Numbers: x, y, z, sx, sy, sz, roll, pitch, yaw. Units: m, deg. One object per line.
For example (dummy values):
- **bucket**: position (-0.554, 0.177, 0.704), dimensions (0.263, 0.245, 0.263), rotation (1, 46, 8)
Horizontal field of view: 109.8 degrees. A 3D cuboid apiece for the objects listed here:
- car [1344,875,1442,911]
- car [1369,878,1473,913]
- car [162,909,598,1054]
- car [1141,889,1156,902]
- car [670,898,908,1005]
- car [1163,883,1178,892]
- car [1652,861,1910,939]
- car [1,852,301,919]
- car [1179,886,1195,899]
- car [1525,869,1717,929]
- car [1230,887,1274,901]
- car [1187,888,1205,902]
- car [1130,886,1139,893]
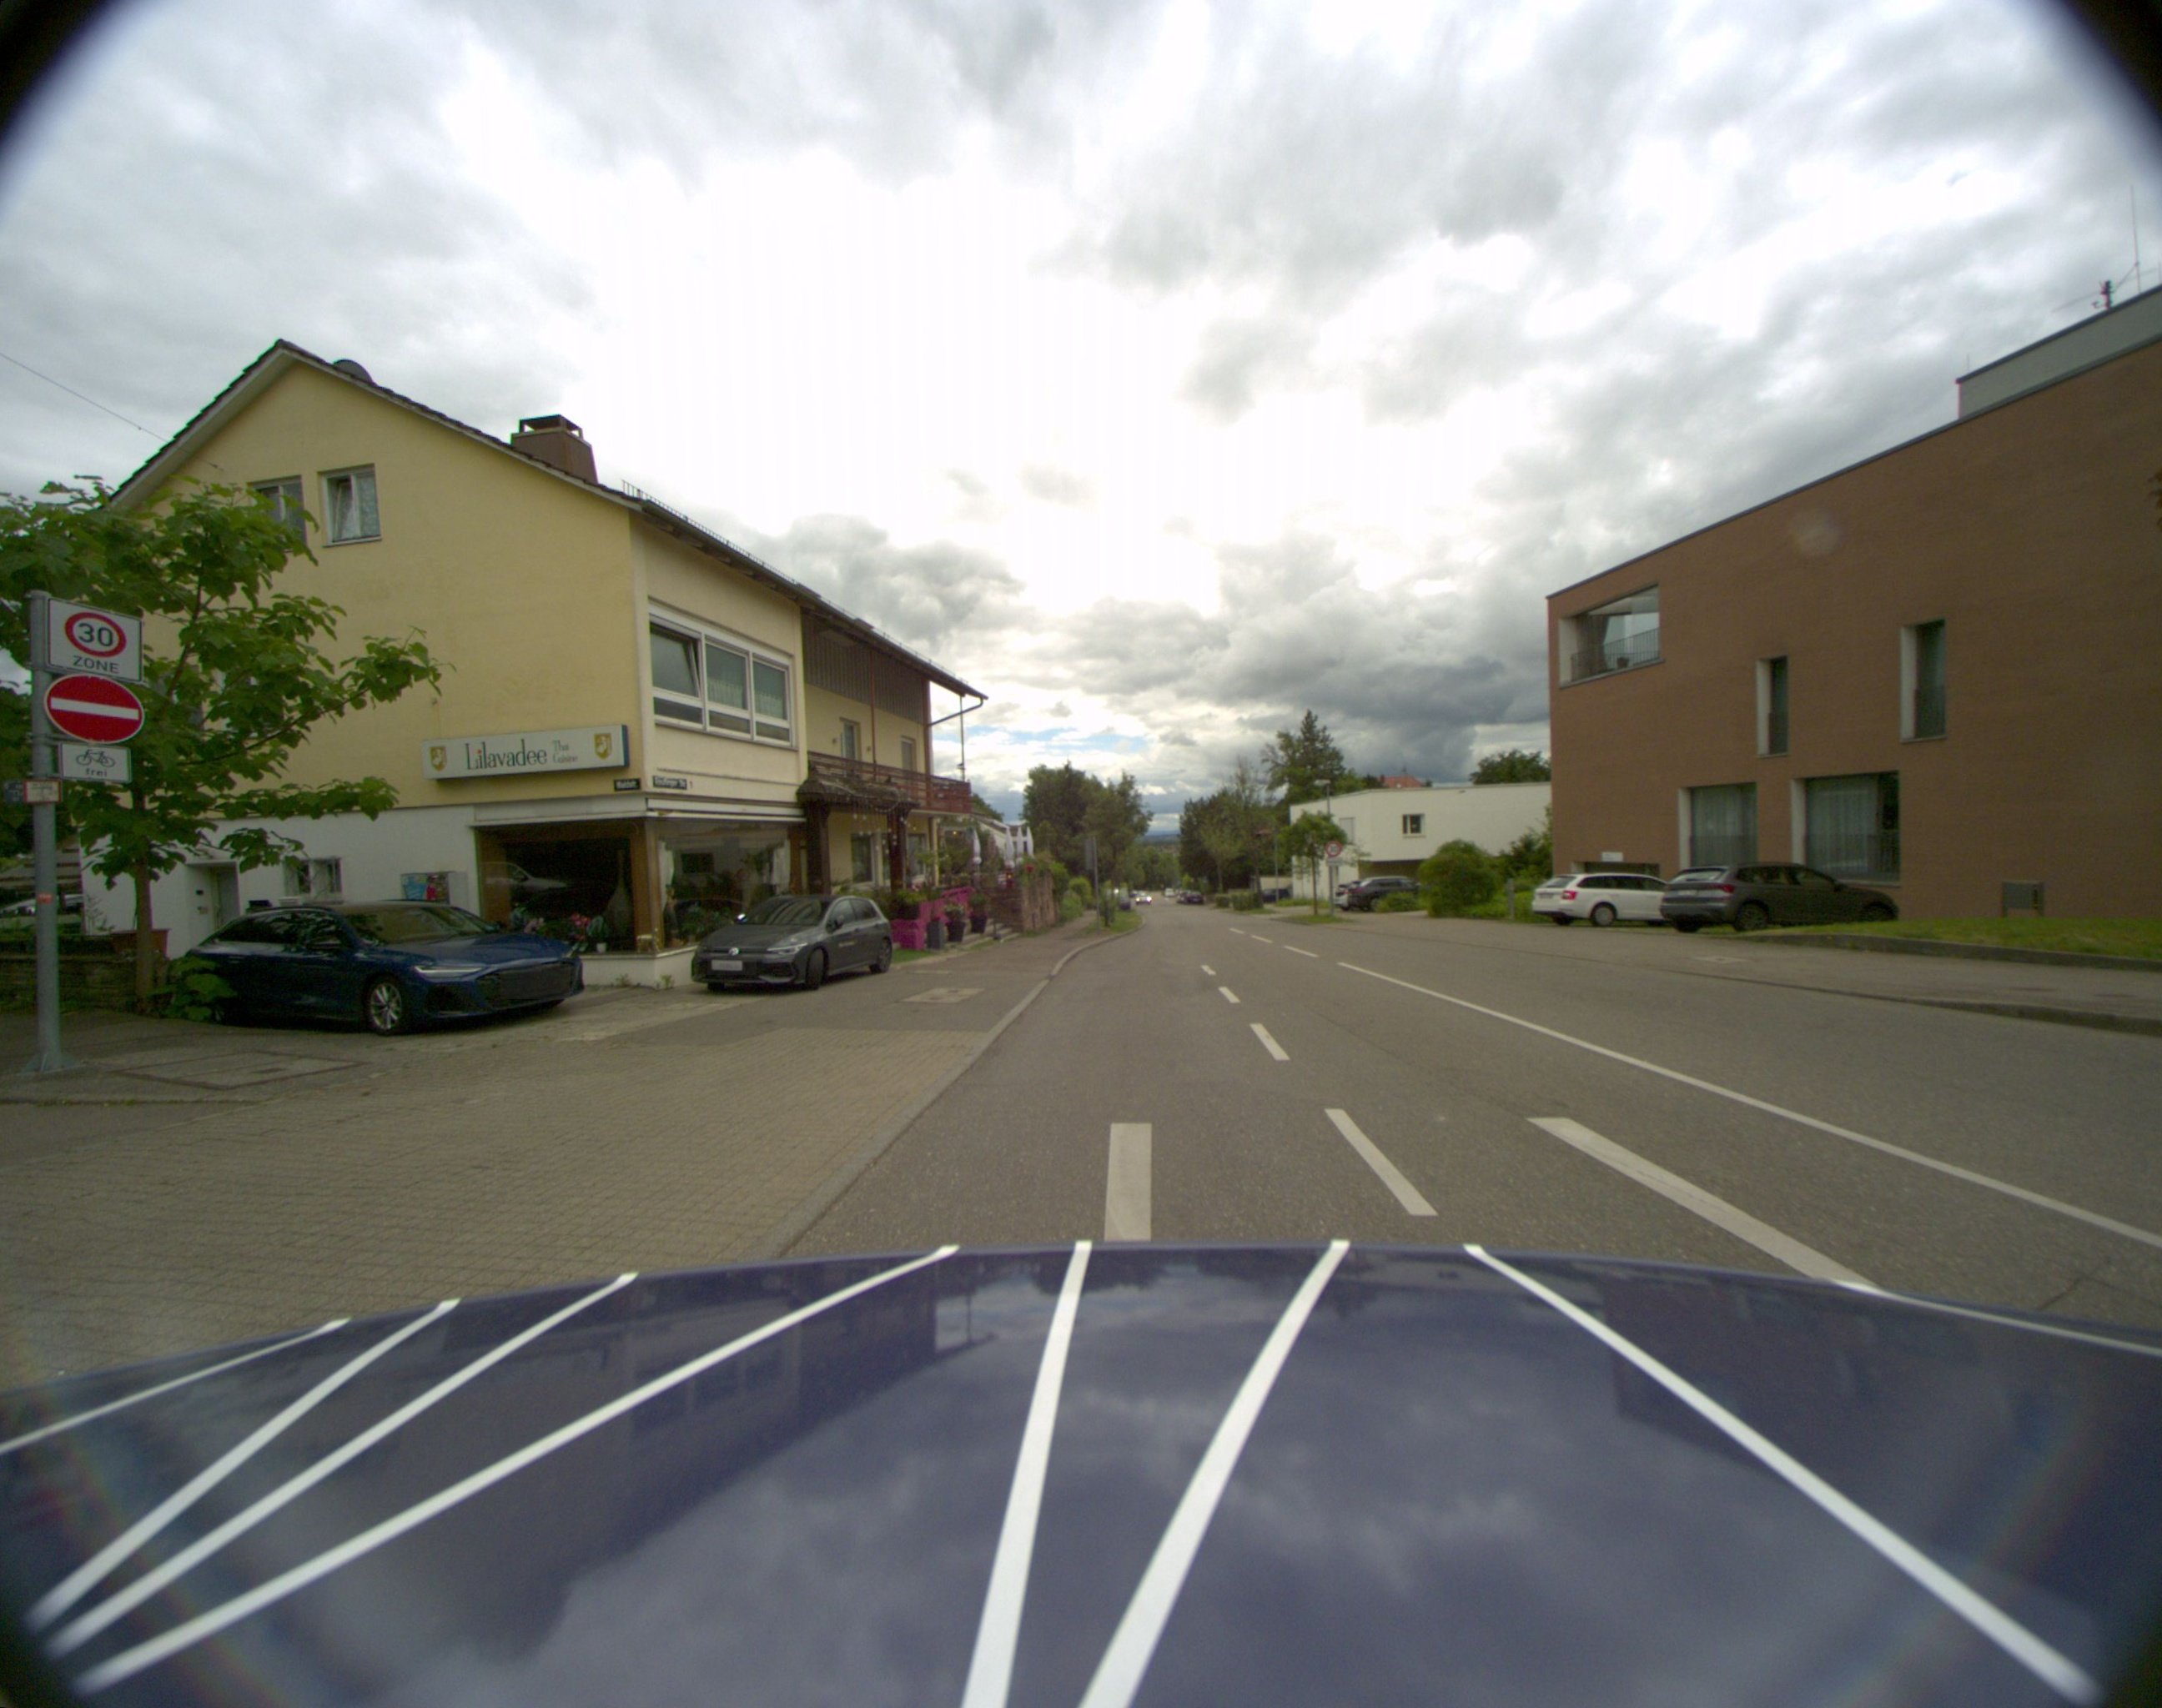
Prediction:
- **car**: position (15.062, 1.894, 36.870), dimensions (3.996, 1.585, 1.795), rotation (-2, -3, 3)
- **car**: position (15.608, 1.895, 35.028), dimensions (3.996, 1.476, 1.728), rotation (-2, -3, 3)
- **car**: position (-8.524, 1.418, 9.283), dimensions (4.739, 1.378, 1.802), rotation (-2, -1, 18)
- **car**: position (8.176, 5.051, 92.151), dimensions (1.725, 1.476, 4.004), rotation (-2, -3, 6)
- **car**: position (-4.537, 1.479, 12.620), dimensions (1.796, 1.452, 4.332), rotation (-1, -4, 8)
- **car**: position (16.219, 6.066, 137.965), dimensions (1.884, 1.412, 4.368), rotation (-1, -1, -2)
- **car**: position (14.920, 0.972, 16.333), dimensions (3.998, 1.476, 1.727), rotation (-1, -3, -3)
- **car**: position (-22.779, 0.831, 18.894), dimensions (1.795, 1.452, 4.336), rotation (-2, -4, 22)
- **car**: position (12.508, 4.553, 89.569), dimensions (1.661, 1.412, 4.372), rotation (-2, -3, 6)
- **car**: position (14.621, 1.218, 20.706), dimensions (3.998, 1.476, 1.727), rotation (-1, -3, -3)
- **car**: position (16.556, 3.882, 73.722), dimensions (3.995, 1.278, 1.665), rotation (-2, -3, 7)
- **car**: position (12.190, 4.297, 80.571), dimensions (1.661, 1.412, 4.004), rotation (-2, -3, 6)
- **car**: position (12.972, 8.580, 184.008), dimensions (1.883, 1.412, 4.369), rotation (-1, -1, 1)
